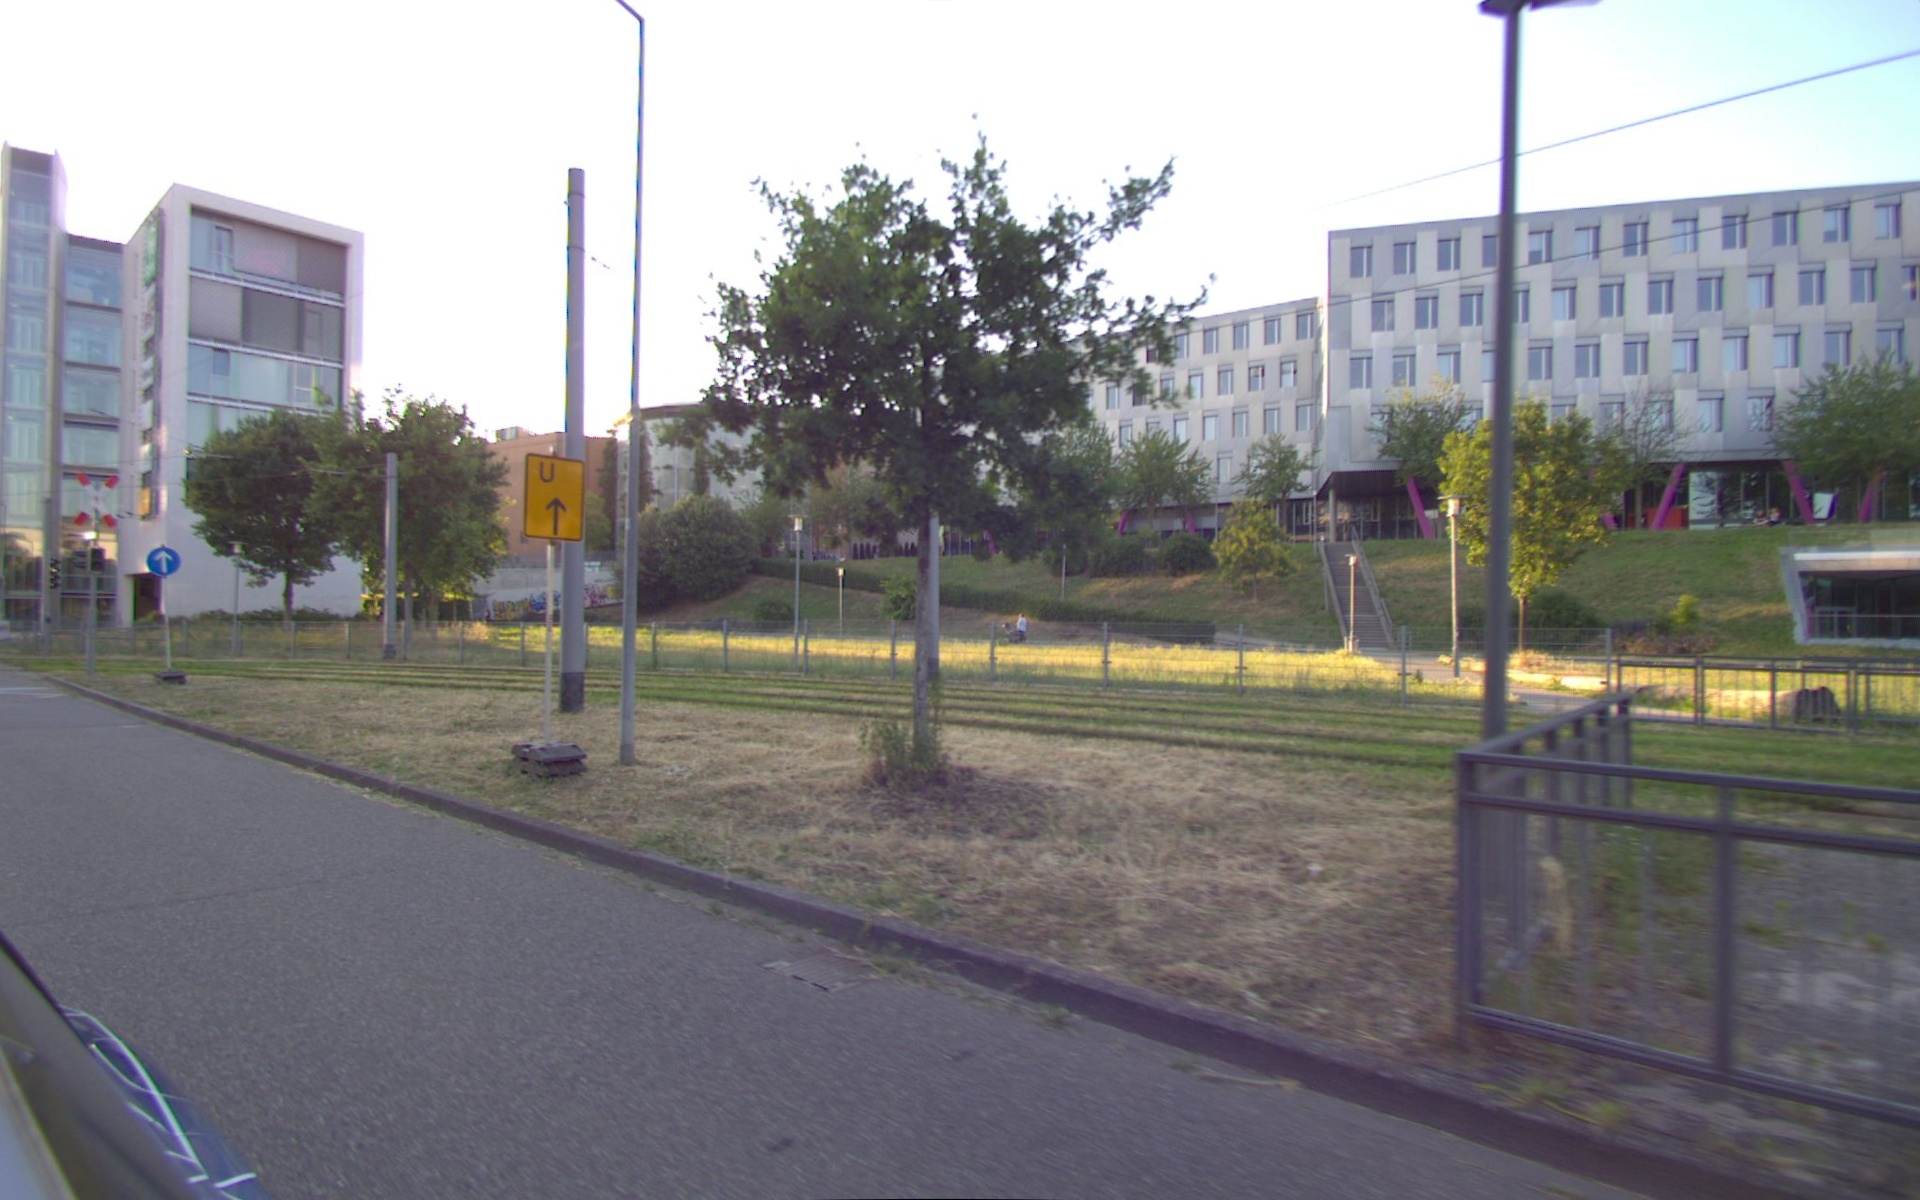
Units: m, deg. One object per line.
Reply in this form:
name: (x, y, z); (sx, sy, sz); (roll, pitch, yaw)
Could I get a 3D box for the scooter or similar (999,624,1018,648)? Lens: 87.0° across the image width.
scooter or similar: (2.591, 1.928, 54.285); (0.790, 1.253, 0.610); (-1, 0, 40)

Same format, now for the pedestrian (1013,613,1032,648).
pedestrian: (3.307, 1.600, 53.655); (0.790, 1.850, 0.610); (-1, 0, 40)

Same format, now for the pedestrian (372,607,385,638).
pedestrian: (-34.224, 1.319, 59.524); (0.480, 1.850, 0.446); (-1, 0, 21)
